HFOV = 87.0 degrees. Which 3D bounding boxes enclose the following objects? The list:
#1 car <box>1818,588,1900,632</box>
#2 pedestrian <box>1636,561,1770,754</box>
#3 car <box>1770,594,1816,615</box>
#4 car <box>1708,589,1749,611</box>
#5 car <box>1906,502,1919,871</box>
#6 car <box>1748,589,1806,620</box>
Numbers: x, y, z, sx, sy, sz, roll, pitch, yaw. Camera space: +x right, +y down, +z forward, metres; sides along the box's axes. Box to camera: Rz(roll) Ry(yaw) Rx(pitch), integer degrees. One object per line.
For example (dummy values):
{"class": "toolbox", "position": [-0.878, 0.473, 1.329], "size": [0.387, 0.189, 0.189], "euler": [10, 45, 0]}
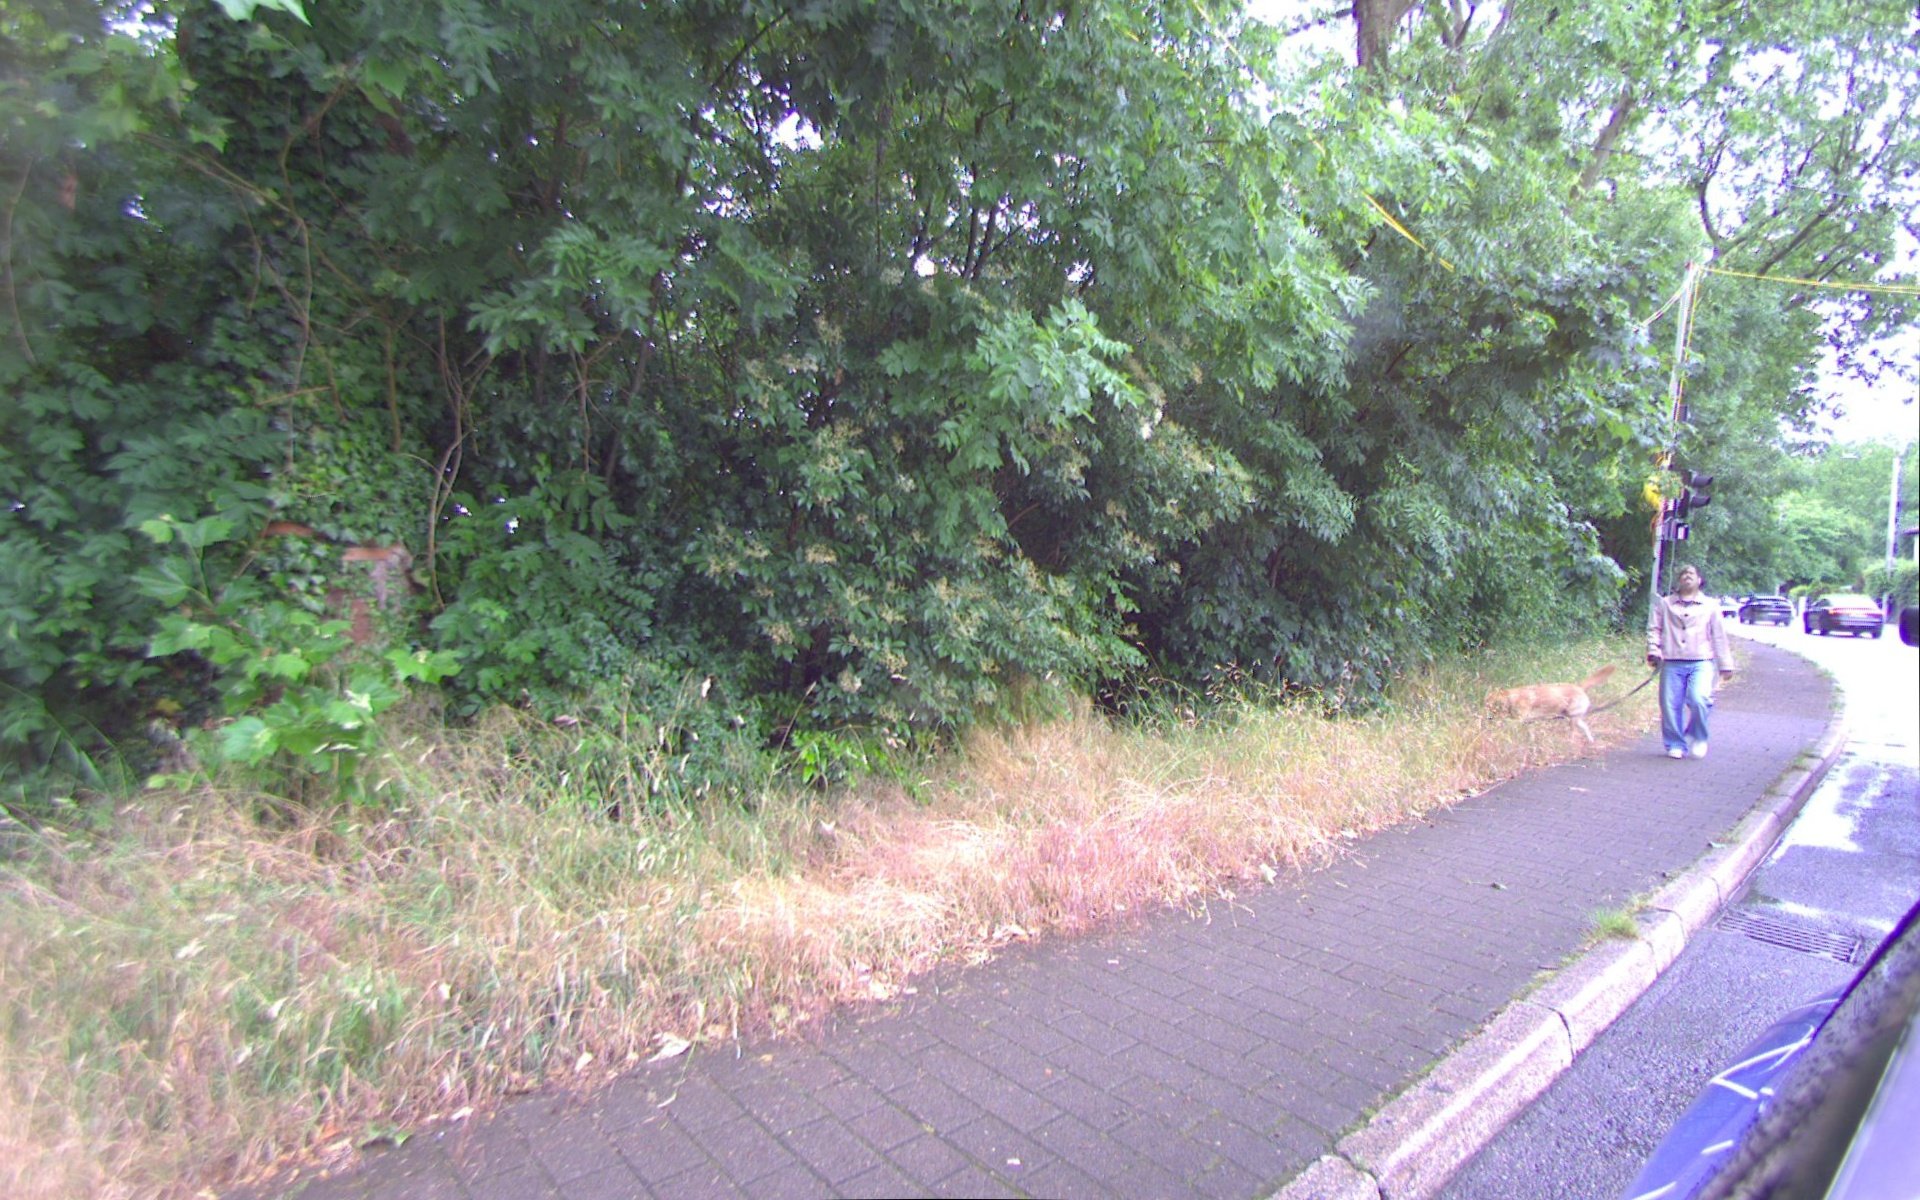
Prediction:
{"class": "car", "position": [37.032, 0.380, 41.814], "size": [1.987, 1.695, 4.629], "euler": [0, 0, 35]}
{"class": "pedestrian", "position": [6.227, 0.443, 8.486], "size": [0.771, 1.518, 0.734], "euler": [0, 1, -42]}
{"class": "car", "position": [60.759, 0.293, 73.917], "size": [2.055, 1.504, 4.508], "euler": [1, 1, 33]}
{"class": "car", "position": [54.781, 0.011, 72.207], "size": [1.845, 1.547, 4.764], "euler": [0, 0, 32]}
{"class": "car", "position": [7.592, 0.461, 6.217], "size": [5.001, 1.943, 2.100], "euler": [0, 0, -41]}
{"class": "car", "position": [44.928, 0.251, 55.734], "size": [1.857, 1.642, 4.120], "euler": [0, 0, 30]}
